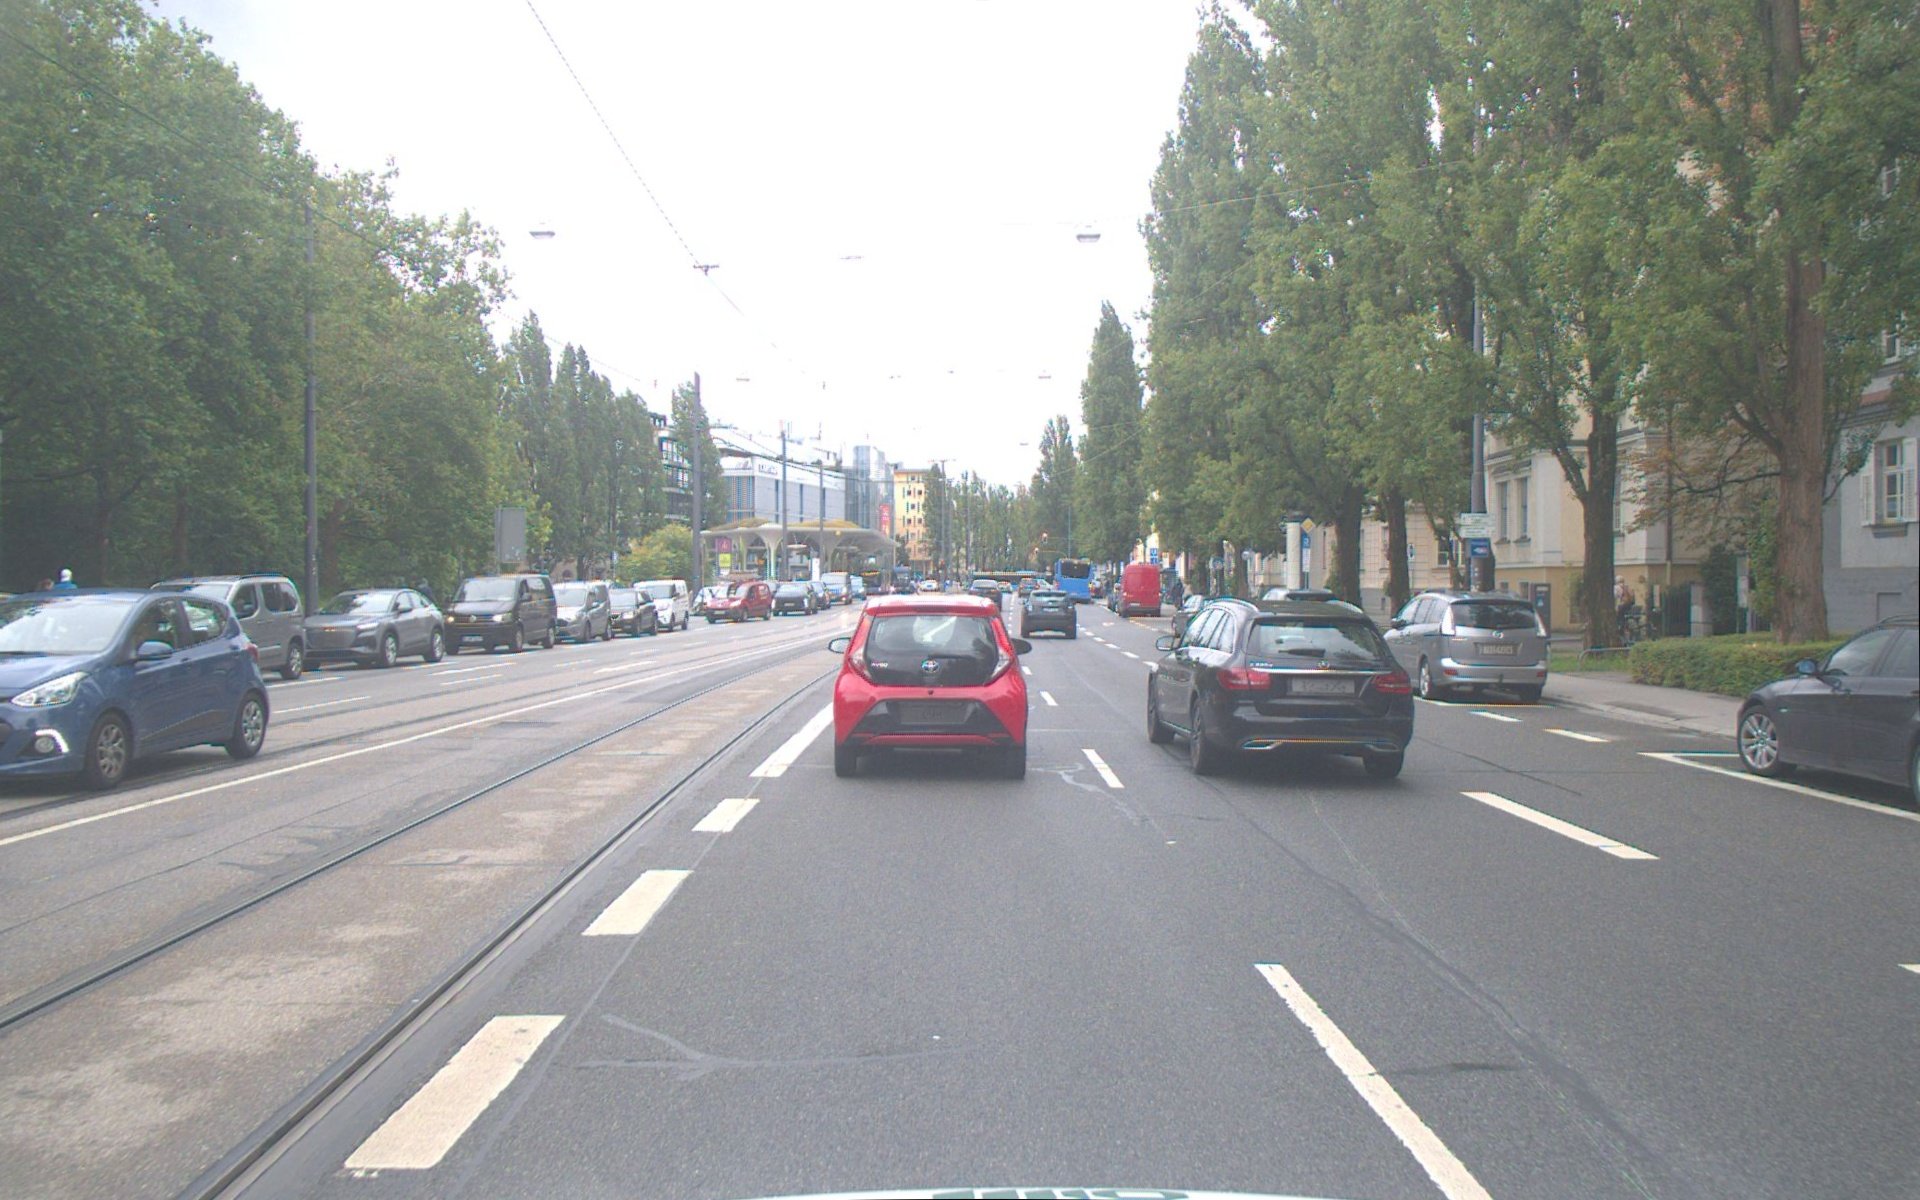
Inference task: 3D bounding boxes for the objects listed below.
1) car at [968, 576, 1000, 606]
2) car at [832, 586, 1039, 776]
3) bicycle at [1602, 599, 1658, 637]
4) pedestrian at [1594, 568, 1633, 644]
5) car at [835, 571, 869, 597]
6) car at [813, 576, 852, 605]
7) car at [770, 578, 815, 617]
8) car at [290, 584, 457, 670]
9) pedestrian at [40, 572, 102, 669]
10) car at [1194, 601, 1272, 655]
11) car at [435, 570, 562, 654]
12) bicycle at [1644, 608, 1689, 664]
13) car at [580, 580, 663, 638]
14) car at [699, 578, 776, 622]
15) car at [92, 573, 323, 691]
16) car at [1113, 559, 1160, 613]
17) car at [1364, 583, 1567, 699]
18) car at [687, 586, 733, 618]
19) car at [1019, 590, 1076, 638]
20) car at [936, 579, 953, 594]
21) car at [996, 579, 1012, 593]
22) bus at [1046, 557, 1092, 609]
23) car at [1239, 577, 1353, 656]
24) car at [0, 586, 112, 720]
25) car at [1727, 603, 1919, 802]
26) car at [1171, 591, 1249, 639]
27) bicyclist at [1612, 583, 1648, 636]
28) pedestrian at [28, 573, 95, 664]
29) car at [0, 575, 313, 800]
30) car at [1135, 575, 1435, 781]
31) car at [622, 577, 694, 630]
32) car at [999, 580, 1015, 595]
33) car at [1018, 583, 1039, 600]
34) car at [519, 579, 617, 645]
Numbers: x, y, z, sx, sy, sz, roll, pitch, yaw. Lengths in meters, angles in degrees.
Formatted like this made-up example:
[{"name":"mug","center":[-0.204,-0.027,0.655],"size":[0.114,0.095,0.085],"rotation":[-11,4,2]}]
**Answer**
[{"name":"car","center":[1.305,-0.487,89.948],"size":[1.700,1.576,4.577],"rotation":[0,1,1]},{"name":"car","center":[-0.235,0.623,14.654],"size":[1.595,1.465,3.376],"rotation":[1,0,-2]},{"name":"bicycle","center":[17.143,0.444,42.331],"size":[0.639,0.939,1.903],"rotation":[0,0,-1]},{"name":"pedestrian","center":[15.556,0.127,39.389],"size":[0.579,1.768,0.824],"rotation":[0,2,1]},{"name":"car","center":[-7.436,-1.130,114.141],"size":[1.761,1.694,4.521],"rotation":[-2,0,4]},{"name":"car","center":[-7.697,-0.567,100.178],"size":[1.762,1.694,4.520],"rotation":[-2,0,2]},{"name":"car","center":[-8.336,-0.130,82.519],"size":[1.763,1.819,4.518],"rotation":[-2,0,-1]},{"name":"car","center":[-12.209,0.521,34.753],"size":[1.762,1.663,4.589],"rotation":[-1,0,1]},{"name":"pedestrian","center":[-17.044,0.387,31.719],"size":[0.650,1.821,0.819],"rotation":[1,0,9]},{"name":"car","center":[8.167,0.821,49.745],"size":[1.762,1.534,4.001],"rotation":[0,0,1]},{"name":"car","center":[-11.854,0.267,42.818],"size":[1.762,2.025,5.040],"rotation":[-1,0,1]},{"name":"bicycle","center":[13.582,0.684,31.803],"size":[0.347,1.005,1.228],"rotation":[0,2,1]},{"name":"car","center":[-11.410,0.279,56.035],"size":[1.762,1.819,4.519],"rotation":[-2,0,1]},{"name":"car","center":[-9.837,-0.013,73.424],"size":[1.761,1.819,4.523],"rotation":[-2,0,14]},{"name":"car","center":[-12.518,0.481,27.849],"size":[1.762,1.810,4.473],"rotation":[-1,0,1]},{"name":"car","center":[8.954,-0.767,84.387],"size":[1.952,2.619,4.681],"rotation":[0,2,1]},{"name":"car","center":[7.751,0.572,25.828],"size":[1.762,1.640,4.547],"rotation":[0,0,0]},{"name":"car","center":[-12.822,0.081,85.008],"size":[1.763,1.557,4.517],"rotation":[-2,0,-2]},{"name":"car","center":[2.826,0.425,54.271],"size":[1.744,1.512,4.001],"rotation":[0,0,1]},{"name":"car","center":[-1.657,-1.461,179.311],"size":[1.744,1.512,4.001],"rotation":[0,0,1]},{"name":"car","center":[5.505,-1.743,206.305],"size":[1.766,1.624,4.001],"rotation":[1,-2,5]},{"name":"bus","center":[7.966,-1.345,121.750],"size":[2.846,3.455,10.809],"rotation":[0,2,1]},{"name":"car","center":[7.927,0.350,39.439],"size":[1.762,1.773,4.700],"rotation":[0,0,0]},{"name":"car","center":[-13.055,0.678,21.485],"size":[1.762,1.696,4.355],"rotation":[-1,0,1]},{"name":"car","center":[7.913,0.760,12.957],"size":[1.762,1.423,4.381],"rotation":[0,0,0]},{"name":"car","center":[8.155,0.461,54.264],"size":[1.763,1.534,4.448],"rotation":[0,0,-2]},{"name":"bicyclist","center":[17.157,0.240,42.358],"size":[0.646,1.337,0.706],"rotation":[0,0,-1]},{"name":"pedestrian","center":[-17.345,0.345,31.956],"size":[0.650,1.713,0.989],"rotation":[1,2,9]},{"name":"car","center":[-7.113,0.619,13.635],"size":[1.762,1.549,4.355],"rotation":[-1,0,1]},{"name":"car","center":[2.793,0.574,15.286],"size":[1.825,1.576,4.703],"rotation":[-1,1,0]},{"name":"car","center":[-11.413,0.118,62.725],"size":[1.762,1.894,4.631],"rotation":[-2,0,1]},{"name":"car","center":[6.057,-1.595,213.369],"size":[1.766,1.624,4.001],"rotation":[1,-2,5]},{"name":"car","center":[5.895,-0.733,142.752],"size":[1.744,1.512,4.001],"rotation":[0,0,1]},{"name":"car","center":[-11.763,0.329,49.930],"size":[1.762,1.819,4.519],"rotation":[-2,0,1]}]
